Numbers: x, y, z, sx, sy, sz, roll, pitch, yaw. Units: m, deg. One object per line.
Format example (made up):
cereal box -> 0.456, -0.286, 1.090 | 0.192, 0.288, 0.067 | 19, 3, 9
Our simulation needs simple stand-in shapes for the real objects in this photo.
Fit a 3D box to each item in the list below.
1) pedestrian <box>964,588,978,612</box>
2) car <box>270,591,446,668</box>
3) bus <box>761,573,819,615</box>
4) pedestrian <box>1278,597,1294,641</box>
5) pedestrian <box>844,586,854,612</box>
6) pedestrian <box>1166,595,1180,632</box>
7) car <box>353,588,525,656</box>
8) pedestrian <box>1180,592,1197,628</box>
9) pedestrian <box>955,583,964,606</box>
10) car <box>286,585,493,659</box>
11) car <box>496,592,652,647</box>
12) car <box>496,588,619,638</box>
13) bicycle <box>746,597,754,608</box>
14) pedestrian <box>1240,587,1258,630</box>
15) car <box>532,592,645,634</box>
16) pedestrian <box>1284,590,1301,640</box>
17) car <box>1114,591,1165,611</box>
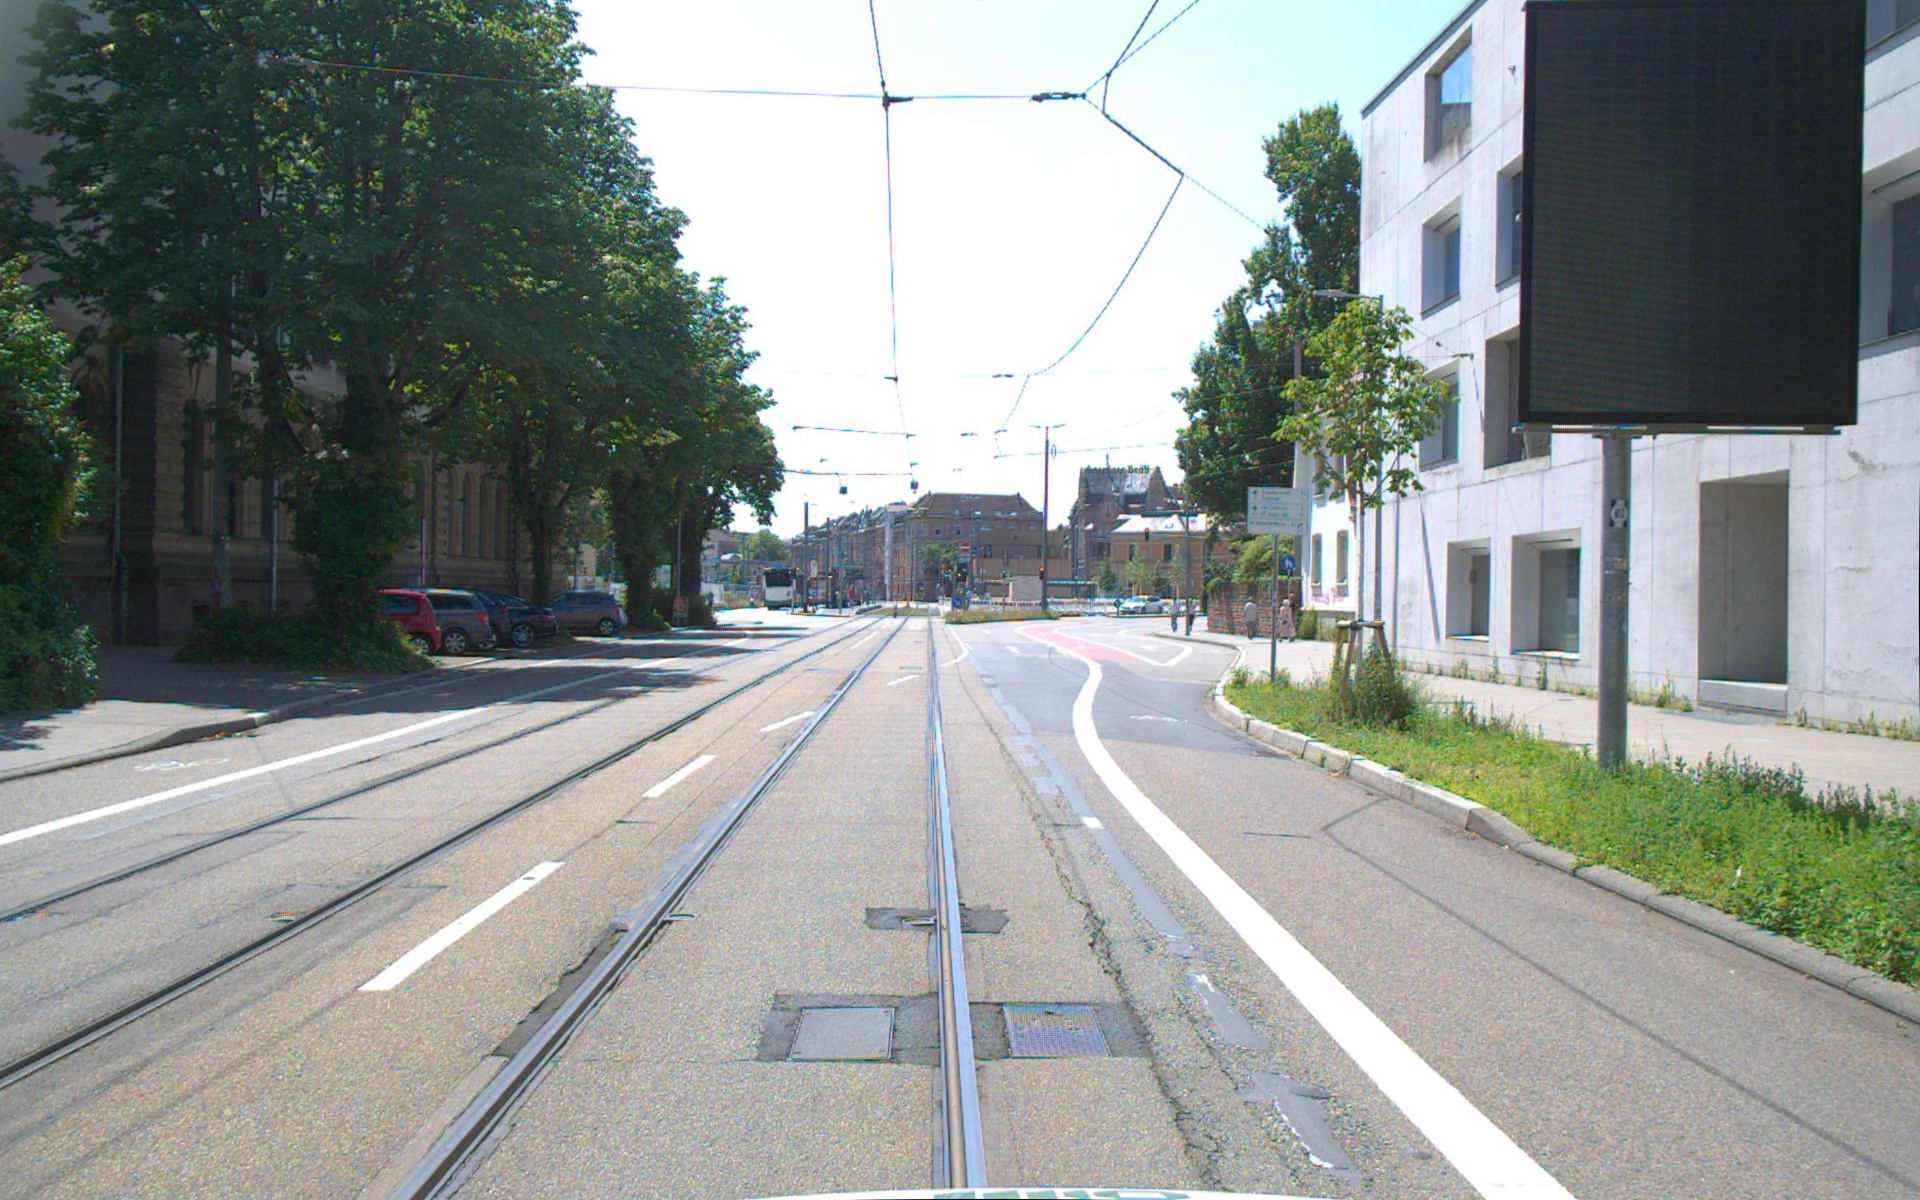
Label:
pedestrian -> 0.878, 0.023, 132.279 | 0.760, 1.897, 0.719 | 1, -1, -42
car -> -12.701, 0.622, 34.896 | 3.302, 1.542, 1.655 | 1, 0, -27
bus -> -13.655, -0.485, 134.308 | 2.949, 3.213, 17.496 | 0, 0, 0
pedestrian -> 11.699, 0.675, 59.306 | 0.504, 1.559, 0.598 | 0, 0, 4
pedestrian -> -8.221, -0.080, 122.665 | 0.660, 1.943, 0.639 | 0, 0, -11
pedestrian -> 10.736, 0.660, 83.472 | 0.663, 1.839, 0.748 | 0, 0, 3
car -> -12.795, 0.503, 40.664 | 3.766, 1.604, 1.775 | 0, 1, -31
pedestrian -> 11.501, 0.495, 83.300 | 0.797, 1.839, 0.700 | 0, 0, 3
pedestrian -> -0.039, -0.441, 124.527 | 0.517, 1.704, 0.751 | 1, -1, -8
car -> -13.080, 0.515, 38.001 | 4.263, 1.612, 1.652 | 1, 0, -31
car -> -10.494, 0.507, 44.992 | 3.874, 1.398, 1.655 | 0, 1, -27
car -> -13.242, 0.426, 54.469 | 3.625, 1.546, 1.653 | 2, 0, -30
bicycle -> -18.404, 0.208, 145.269 | 0.493, 0.930, 2.369 | 0, 1, -2
pedestrian -> 11.510, 0.331, 65.982 | 0.647, 1.676, 0.625 | 0, 0, 4
car -> -12.946, 0.454, 57.633 | 3.499, 1.430, 1.685 | 1, 0, -30
pedestrian -> 12.118, 0.539, 60.216 | 0.613, 1.804, 0.719 | 0, -1, 12
car -> 13.526, 0.090, 124.528 | 1.957, 1.463, 4.693 | 0, 0, 32
